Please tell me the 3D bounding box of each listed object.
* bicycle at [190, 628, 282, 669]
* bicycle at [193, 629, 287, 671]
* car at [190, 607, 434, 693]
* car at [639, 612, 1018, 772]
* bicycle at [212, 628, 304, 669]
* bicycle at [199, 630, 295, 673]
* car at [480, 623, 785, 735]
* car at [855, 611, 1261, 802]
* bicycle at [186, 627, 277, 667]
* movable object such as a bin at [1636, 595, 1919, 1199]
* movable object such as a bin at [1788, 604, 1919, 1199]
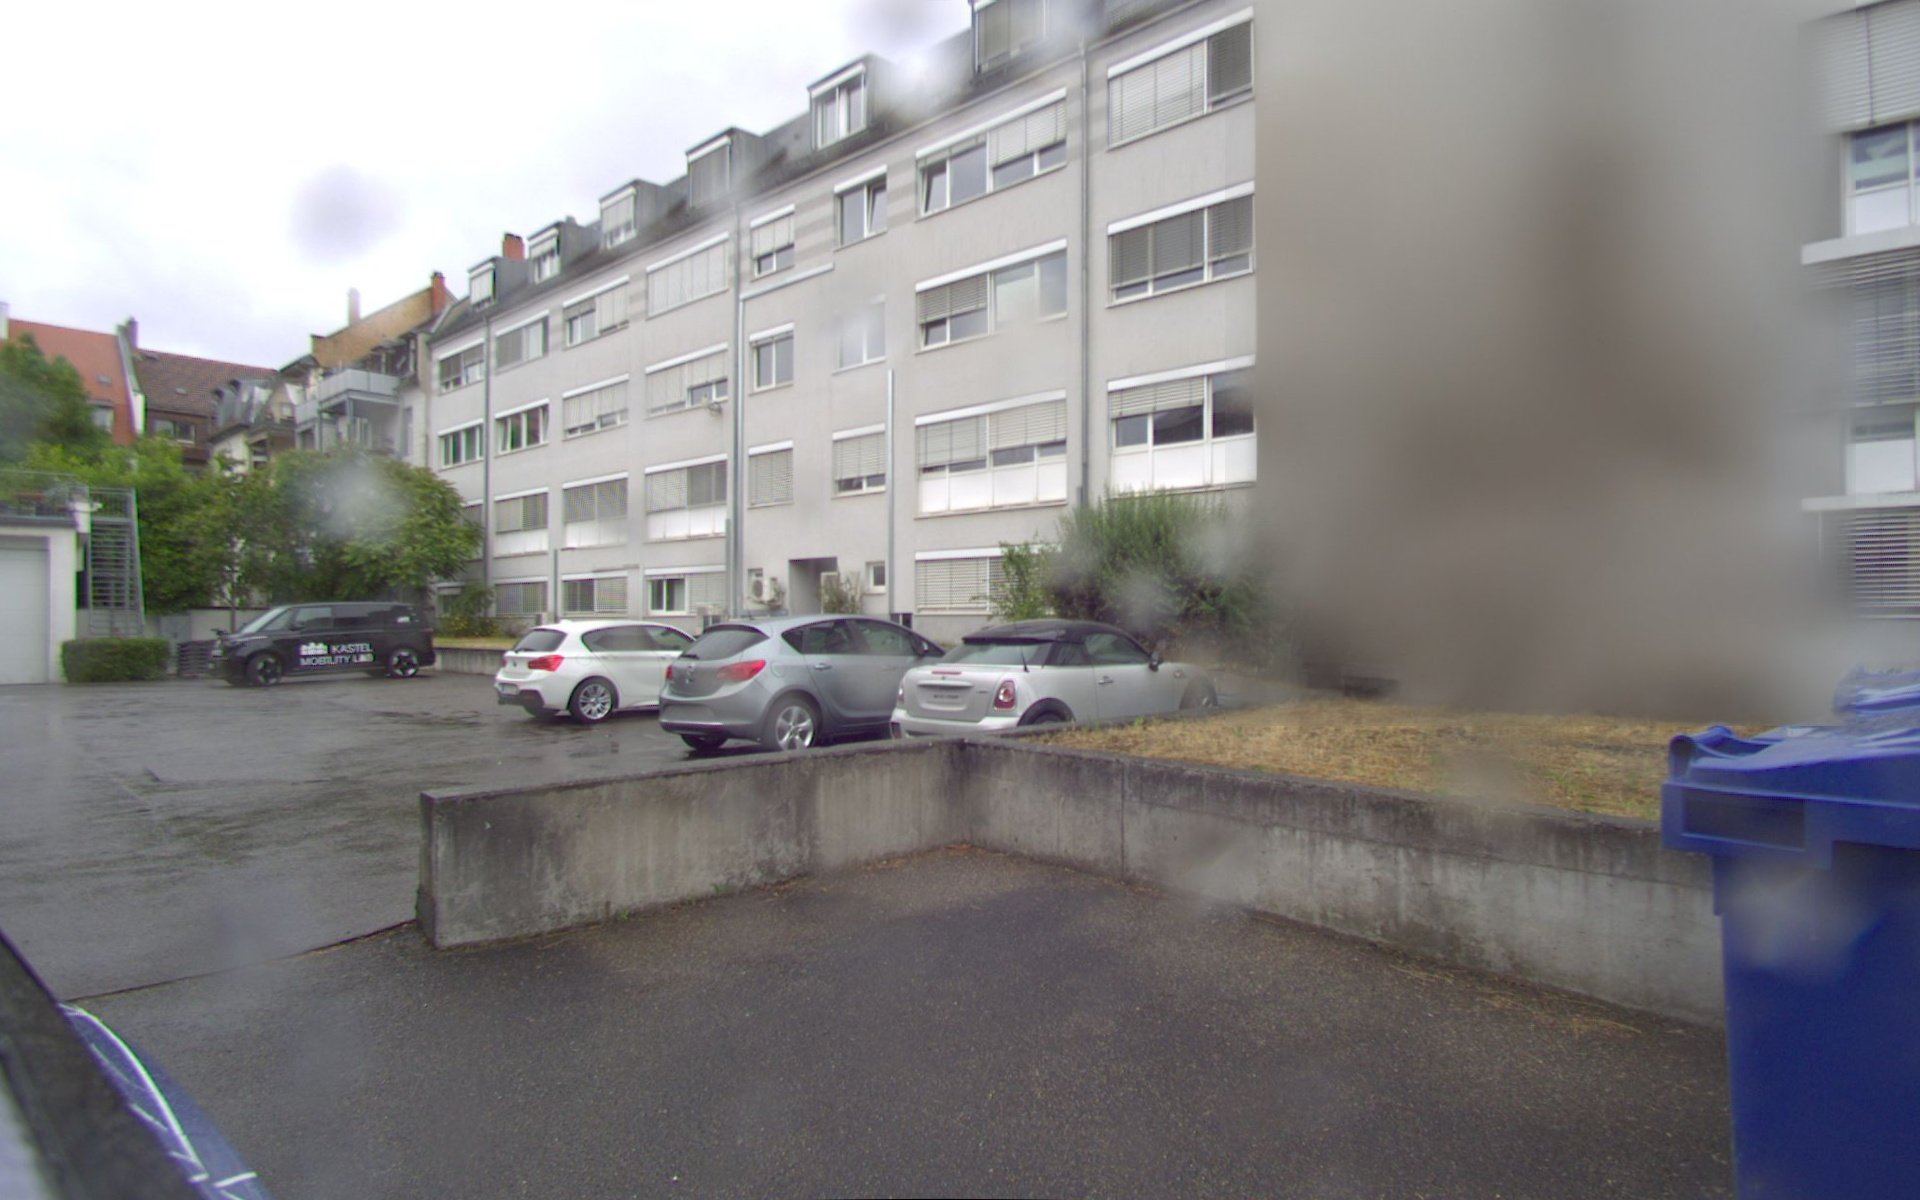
[{"bbox_3d":[-22.783,1.499,31.879,2.285,1.195,0.644,1,1,-42],"label":"bicycle"},{"bbox_3d":[-22.021,1.522,30.990,2.285,1.195,0.644,1,1,-42],"label":"bicycle"},{"bbox_3d":[-15.453,1.135,24.328,1.987,1.851,4.569,-3,-2,40],"label":"car"},{"bbox_3d":[-1.349,0.918,11.641,1.822,1.495,4.120,-3,-2,42],"label":"car"},{"bbox_3d":[-22.070,1.513,31.851,2.285,1.195,0.644,1,1,-42],"label":"bicycle"},{"bbox_3d":[-21.425,1.539,30.453,2.285,1.195,0.644,1,1,-42],"label":"bicycle"},{"bbox_3d":[-4.828,1.077,15.362,1.753,1.444,4.094,-1,-1,42],"label":"car"},{"bbox_3d":[1.148,0.880,10.059,1.823,1.343,4.119,-3,0,44],"label":"car"},{"bbox_3d":[-23.245,1.486,32.314,2.285,1.195,0.644,1,1,-42],"label":"bicycle"},{"bbox_3d":[1.792,0.669,1.381,1.187,1.347,1.119,1,-1,-38],"label":"movable object such as a bin"},{"bbox_3d":[2.741,0.674,2.279,1.188,1.347,1.118,-1,-2,-42],"label":"movable object such as a bin"}]
